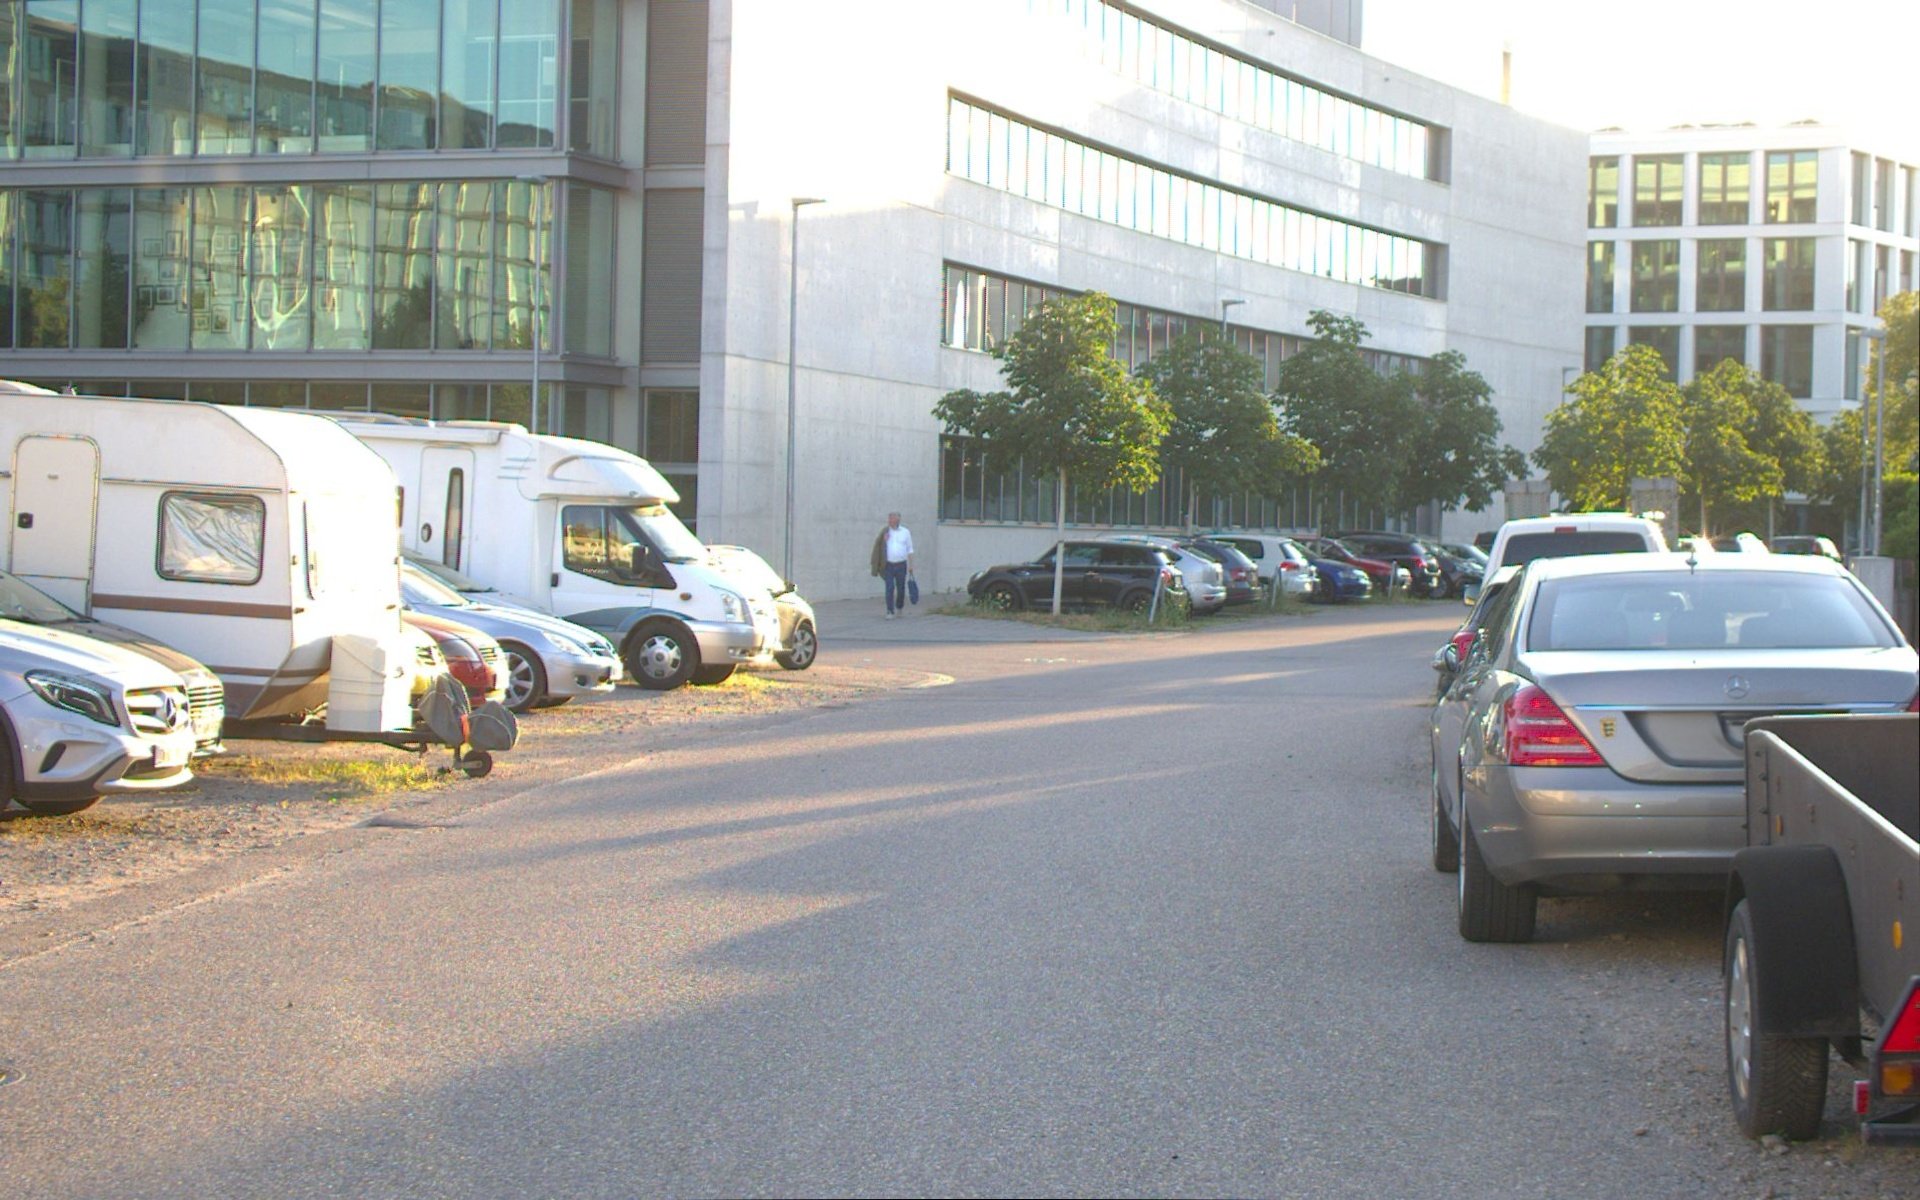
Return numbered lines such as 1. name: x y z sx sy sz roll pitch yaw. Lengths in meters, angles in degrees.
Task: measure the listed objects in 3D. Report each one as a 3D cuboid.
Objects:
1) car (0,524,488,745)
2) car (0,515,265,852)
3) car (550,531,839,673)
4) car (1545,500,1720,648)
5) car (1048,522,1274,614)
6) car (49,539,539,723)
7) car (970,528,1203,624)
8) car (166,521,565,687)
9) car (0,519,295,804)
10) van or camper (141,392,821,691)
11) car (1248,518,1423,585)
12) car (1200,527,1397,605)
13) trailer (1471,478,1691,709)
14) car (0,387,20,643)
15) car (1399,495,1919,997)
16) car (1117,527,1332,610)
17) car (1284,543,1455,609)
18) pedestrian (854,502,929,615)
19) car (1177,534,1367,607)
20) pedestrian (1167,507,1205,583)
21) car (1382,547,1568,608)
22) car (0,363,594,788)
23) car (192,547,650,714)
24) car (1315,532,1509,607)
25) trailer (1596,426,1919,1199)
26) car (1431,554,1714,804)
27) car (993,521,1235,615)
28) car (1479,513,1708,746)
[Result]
1. car: -5.700 0.239 26.918 3.629 1.514 1.705 3 1 5
2. car: -5.988 0.307 18.143 4.128 1.585 1.747 4 1 12
3. car: -3.046 0.019 40.423 1.688 1.514 4.357 3 1 20
4. car: 10.075 -0.424 51.213 2.067 2.087 4.868 1 1 17
5. car: 3.815 -0.620 65.145 4.000 1.507 1.584 3 3 14
6. car: -5.625 0.237 29.293 3.726 1.362 1.705 3 1 5
7. car: 2.229 -0.441 60.310 3.737 1.477 1.768 3 2 15
8. car: -5.936 0.018 34.570 3.605 1.471 1.693 2 1 4
9. car: -6.365 0.270 20.961 4.127 1.585 1.748 3 0 7
10. van or camper: -5.093 -0.648 36.979 6.743 2.887 2.408 2 1 10
11. car: 8.759 -1.129 80.161 3.706 1.452 1.709 2 1 21
12. car: 7.347 -0.749 74.600 3.874 1.506 1.758 3 2 21
13. trailer: 6.403 -0.119 35.698 2.065 2.204 5.221 1 1 9
14. car: -13.214 -1.014 35.807 6.246 2.664 2.222 3 1 14
15. car: 2.823 0.467 14.294 1.806 1.719 4.927 -1 1 5
16. car: 5.376 -0.663 69.806 3.991 1.506 1.758 3 2 20
17. car: 9.770 -0.570 82.020 3.707 1.452 1.677 2 1 23
18. pedestrian: -1.141 -0.699 57.116 0.899 1.844 0.856 -1 2 -38
19. car: 6.473 -0.626 71.207 3.635 1.357 1.685 2 2 16
20. pedestrian: 5.389 -1.317 81.845 0.646 1.778 0.724 3 1 20
21. car: 13.432 -0.592 89.675 4.440 1.459 1.761 2 2 26
22. car: -5.704 -0.263 23.168 5.891 2.525 2.411 3 1 10
23. car: -4.931 0.254 31.716 3.809 1.324 1.692 3 1 7
24. car: 11.067 -0.747 84.194 4.314 1.690 1.894 2 1 23
25. trailer: 2.743 0.514 8.788 1.731 1.771 4.936 -1 1 5
26. car: 4.243 0.458 23.401 1.705 1.514 4.086 1 1 13
27. car: 2.839 -0.593 63.081 4.088 1.523 1.845 3 2 14
28. car: 5.448 0.195 29.402 1.772 1.825 4.406 1 1 11
